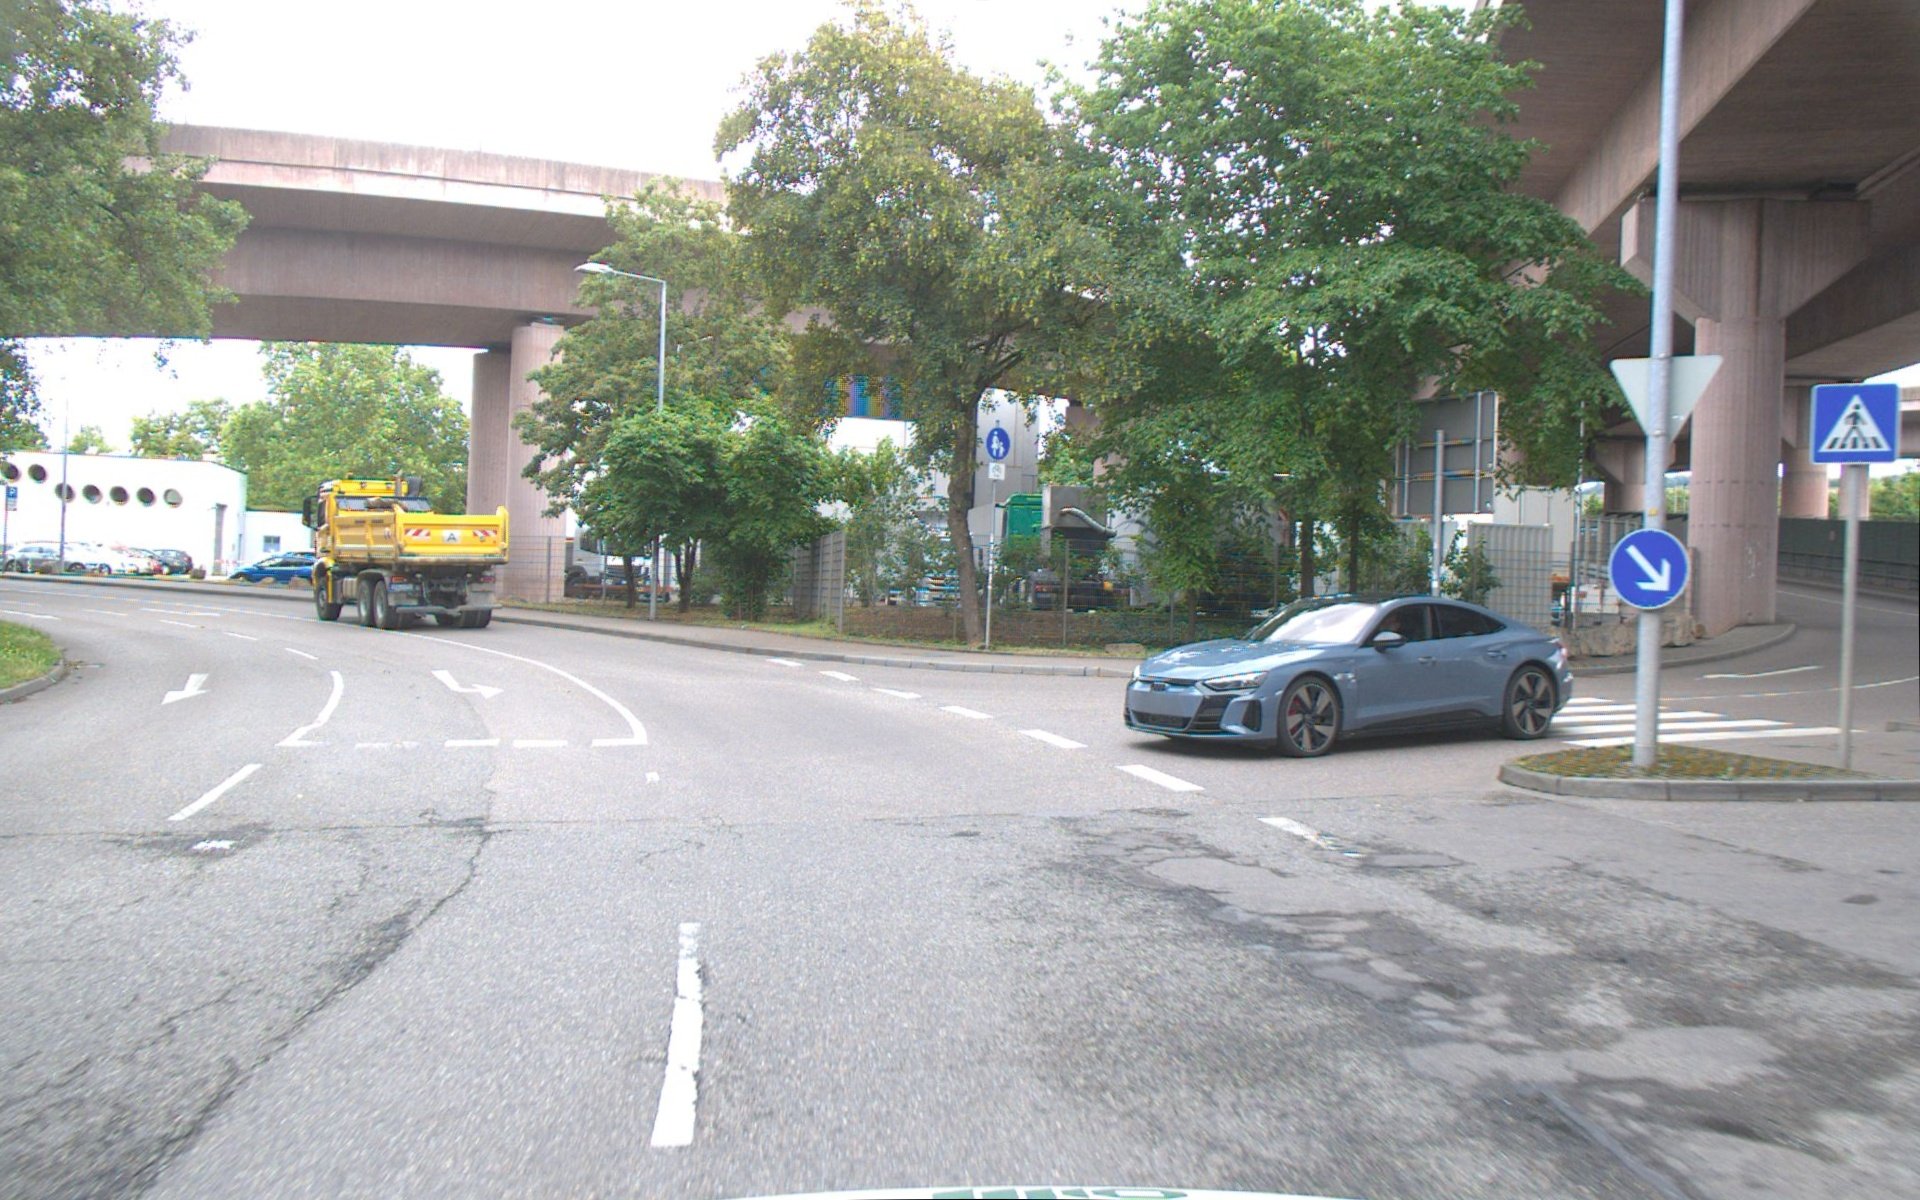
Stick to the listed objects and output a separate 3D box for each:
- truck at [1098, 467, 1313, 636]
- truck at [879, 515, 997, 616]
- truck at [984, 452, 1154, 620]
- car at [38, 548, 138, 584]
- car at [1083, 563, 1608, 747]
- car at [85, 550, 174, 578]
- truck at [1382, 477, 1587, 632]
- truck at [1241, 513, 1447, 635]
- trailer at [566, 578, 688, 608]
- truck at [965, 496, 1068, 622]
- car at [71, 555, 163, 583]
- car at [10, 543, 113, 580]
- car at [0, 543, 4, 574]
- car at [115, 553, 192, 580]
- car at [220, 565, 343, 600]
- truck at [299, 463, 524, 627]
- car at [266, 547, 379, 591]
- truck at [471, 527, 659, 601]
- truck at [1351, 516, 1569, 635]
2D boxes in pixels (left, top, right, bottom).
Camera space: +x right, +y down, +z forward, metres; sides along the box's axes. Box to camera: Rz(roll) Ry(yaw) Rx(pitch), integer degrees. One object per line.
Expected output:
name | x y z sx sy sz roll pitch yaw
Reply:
truck | 6.103 -1.273 42.785 3.011 3.935 8.028 0 2 -11
truck | -0.985 -1.414 64.968 3.002 3.681 7.891 1 2 -13
truck | 2.711 -1.649 43.507 3.009 4.032 6.910 0 2 -9
car | -42.461 -1.640 80.636 3.919 1.668 1.993 0 0 -14
car | 3.772 0.463 15.922 4.868 1.528 2.150 1 0 -32
car | -44.926 -1.932 89.547 3.917 1.467 1.994 0 0 -12
truck | 16.000 -1.429 51.221 3.007 4.374 8.038 0 2 -6
truck | 9.939 -0.737 43.614 2.863 2.949 6.542 0 2 -11
trailer | -11.044 -0.257 54.412 2.126 0.756 6.232 -3 3 -29
truck | 2.200 -1.709 68.245 3.141 4.863 8.039 0 2 -6
car | -44.450 -1.630 87.311 3.917 1.431 1.994 0 0 -12
car | -42.165 -1.799 77.669 3.918 1.668 1.684 0 0 -14
car | -47.312 -1.971 76.717 4.736 1.467 1.994 0 0 -13
car | -46.086 -1.928 94.586 3.635 1.467 1.630 0 0 -13
car | -28.605 -0.726 69.843 4.350 1.467 2.001 0 0 5
truck | -13.349 -1.338 39.786 2.903 3.542 8.143 -1 2 -35
car | -28.101 -1.343 73.028 4.228 1.889 1.999 0 0 -3
truck | -14.770 -1.350 61.668 7.080 2.596 2.717 1 1 34
truck | 13.224 -0.718 44.363 2.863 2.949 6.542 0 2 -11
